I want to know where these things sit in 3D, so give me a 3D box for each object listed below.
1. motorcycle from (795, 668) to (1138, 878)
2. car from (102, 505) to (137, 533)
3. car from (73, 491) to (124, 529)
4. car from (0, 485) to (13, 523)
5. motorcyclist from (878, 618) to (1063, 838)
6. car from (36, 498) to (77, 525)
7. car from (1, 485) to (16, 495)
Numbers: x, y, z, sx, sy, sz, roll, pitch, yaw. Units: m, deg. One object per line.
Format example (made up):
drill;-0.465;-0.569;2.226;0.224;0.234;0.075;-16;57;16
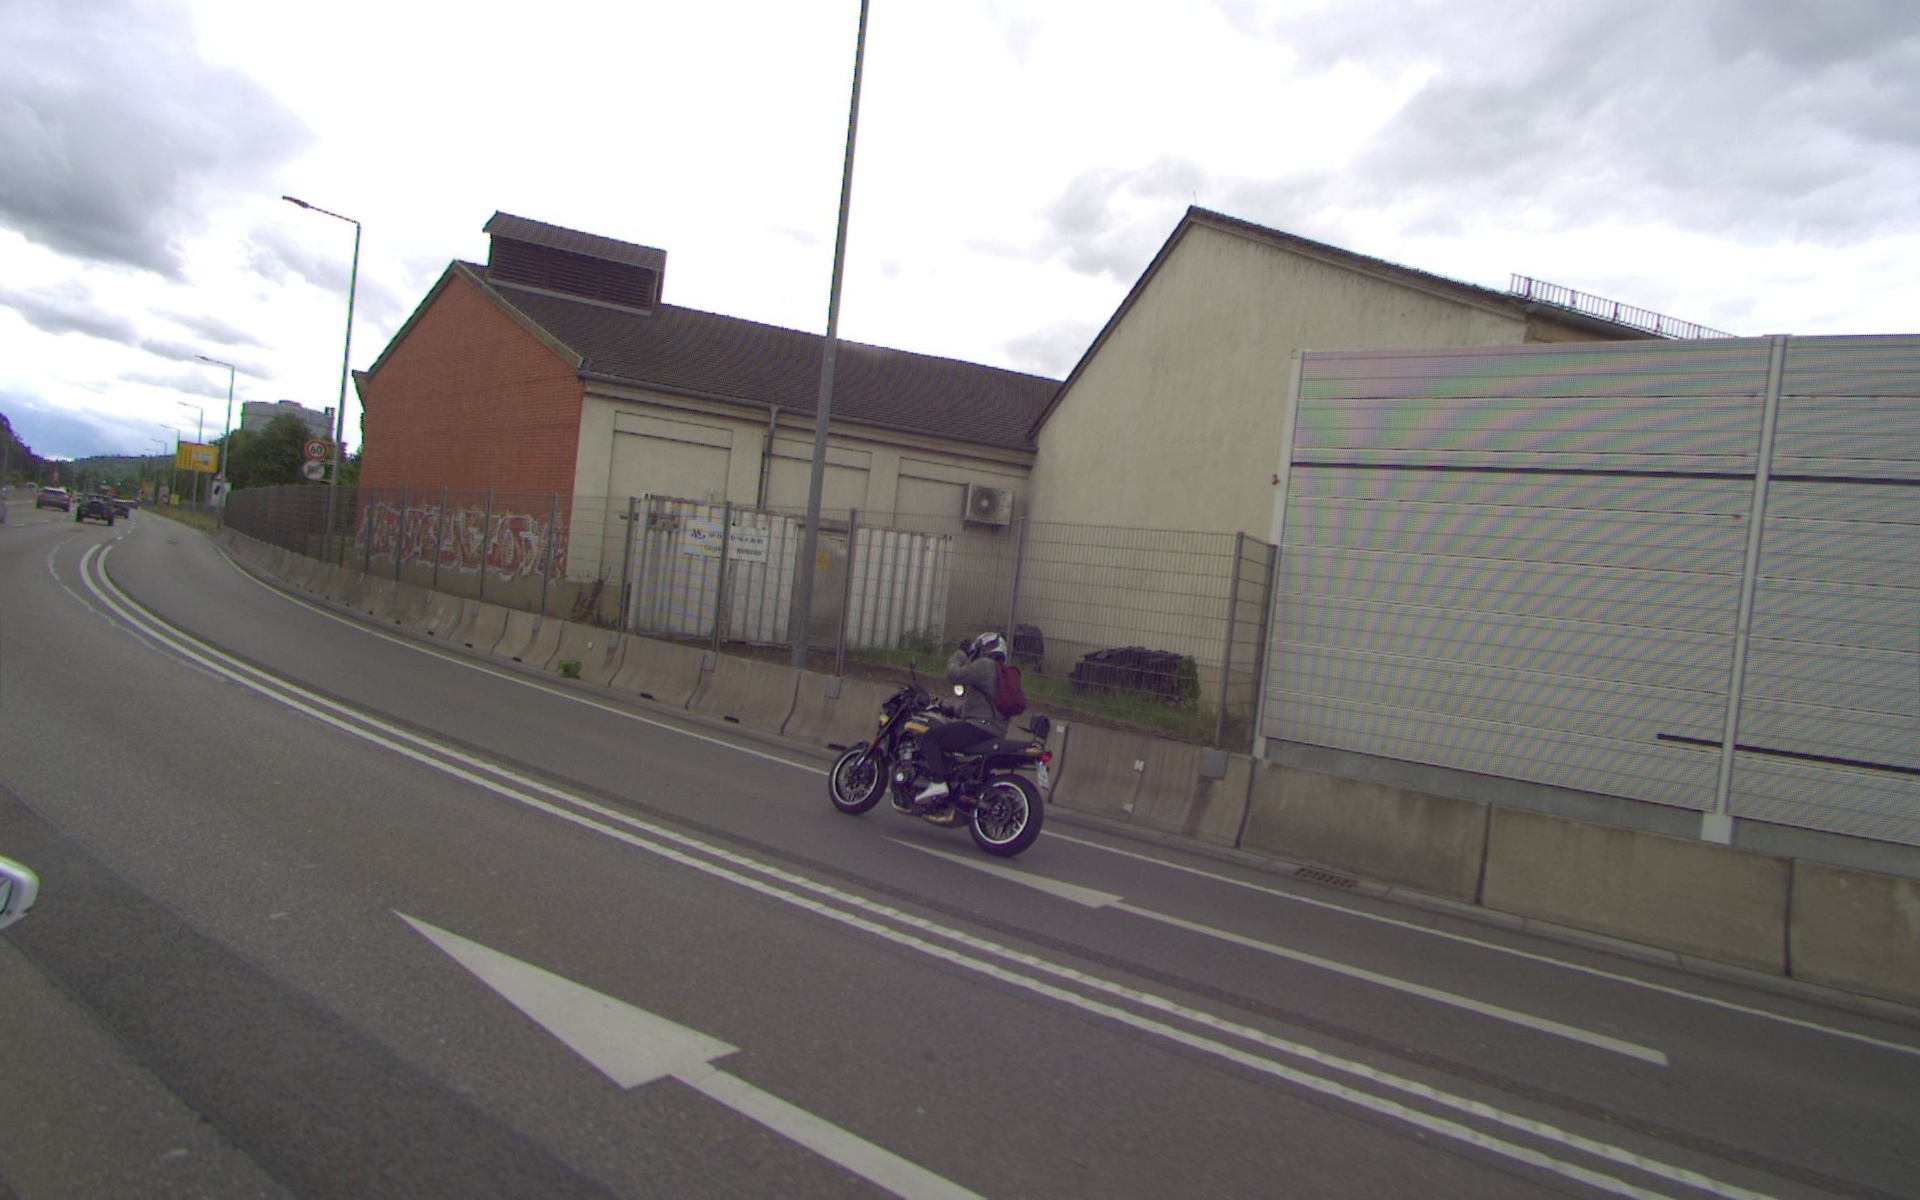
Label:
motorcycle;-0.020;1.261;7.908;2.621;1.097;0.744;7;0;33
car;-69.396;-6.688;83.053;1.986;1.927;3.953;7;-1;-42
car;-50.541;-5.262;58.982;1.987;1.882;3.951;7;-1;-43
car;-39.250;-3.955;39.912;1.911;1.507;4.023;7;0;-37
motorcyclist;0.095;0.968;7.900;0.951;1.495;0.913;7;0;32
car;-68.394;-6.663;76.185;1.986;1.692;3.955;9;-2;-40
car;-169.132;-19.548;178.833;1.728;1.390;3.571;8;0;-44
